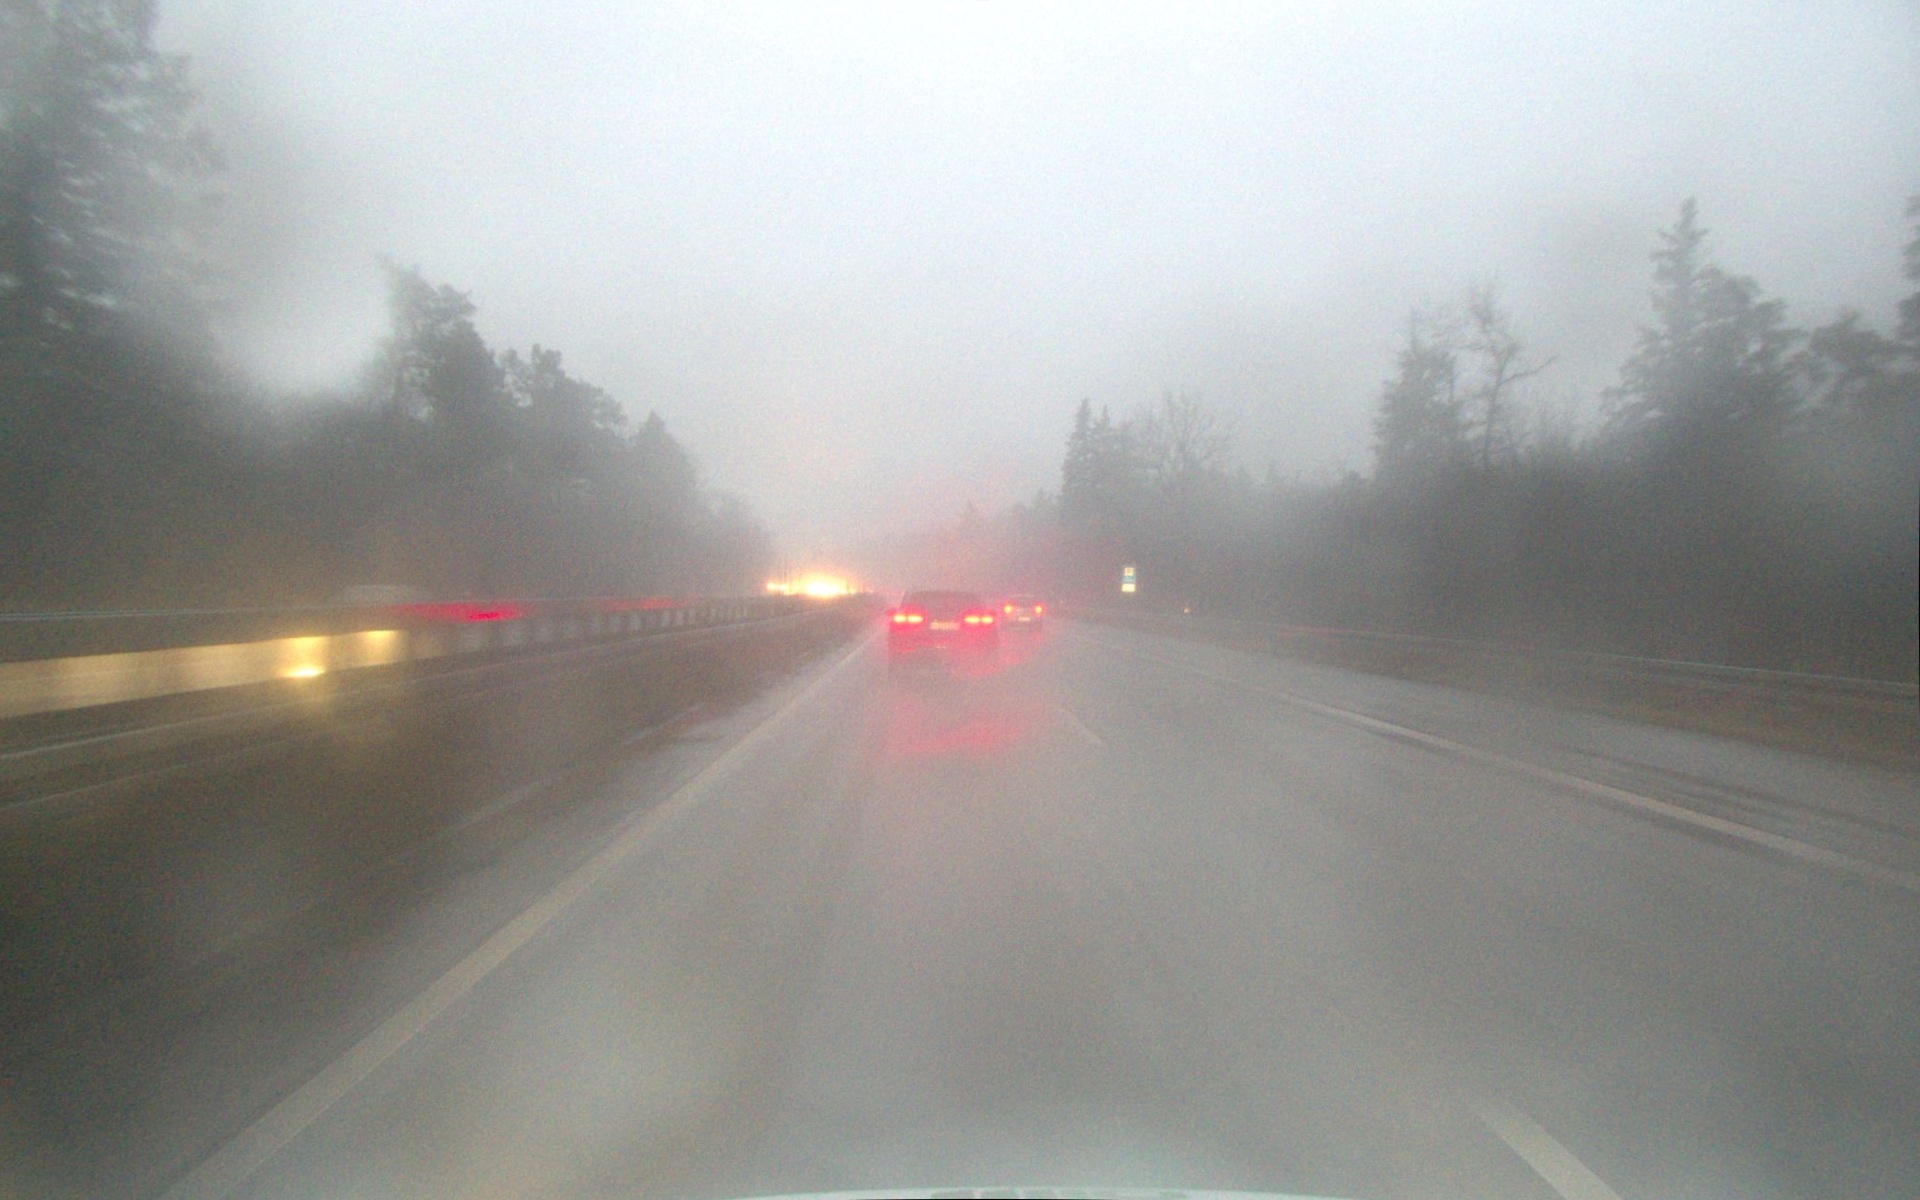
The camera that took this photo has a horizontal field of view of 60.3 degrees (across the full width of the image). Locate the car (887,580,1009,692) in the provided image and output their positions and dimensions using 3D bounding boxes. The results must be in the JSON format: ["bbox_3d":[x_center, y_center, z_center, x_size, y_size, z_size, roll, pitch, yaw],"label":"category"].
[{"bbox_3d":[-0.249,0.570,28.881,1.946,1.798,4.172,1,0,-2],"label":"car"}]

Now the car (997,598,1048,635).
[{"bbox_3d":[2.529,0.646,67.411,1.745,1.462,3.535,1,0,-4],"label":"car"}]

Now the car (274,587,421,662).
[{"bbox_3d":[-12.273,0.450,33.387,1.642,1.413,3.980,1,0,-3],"label":"car"}]
